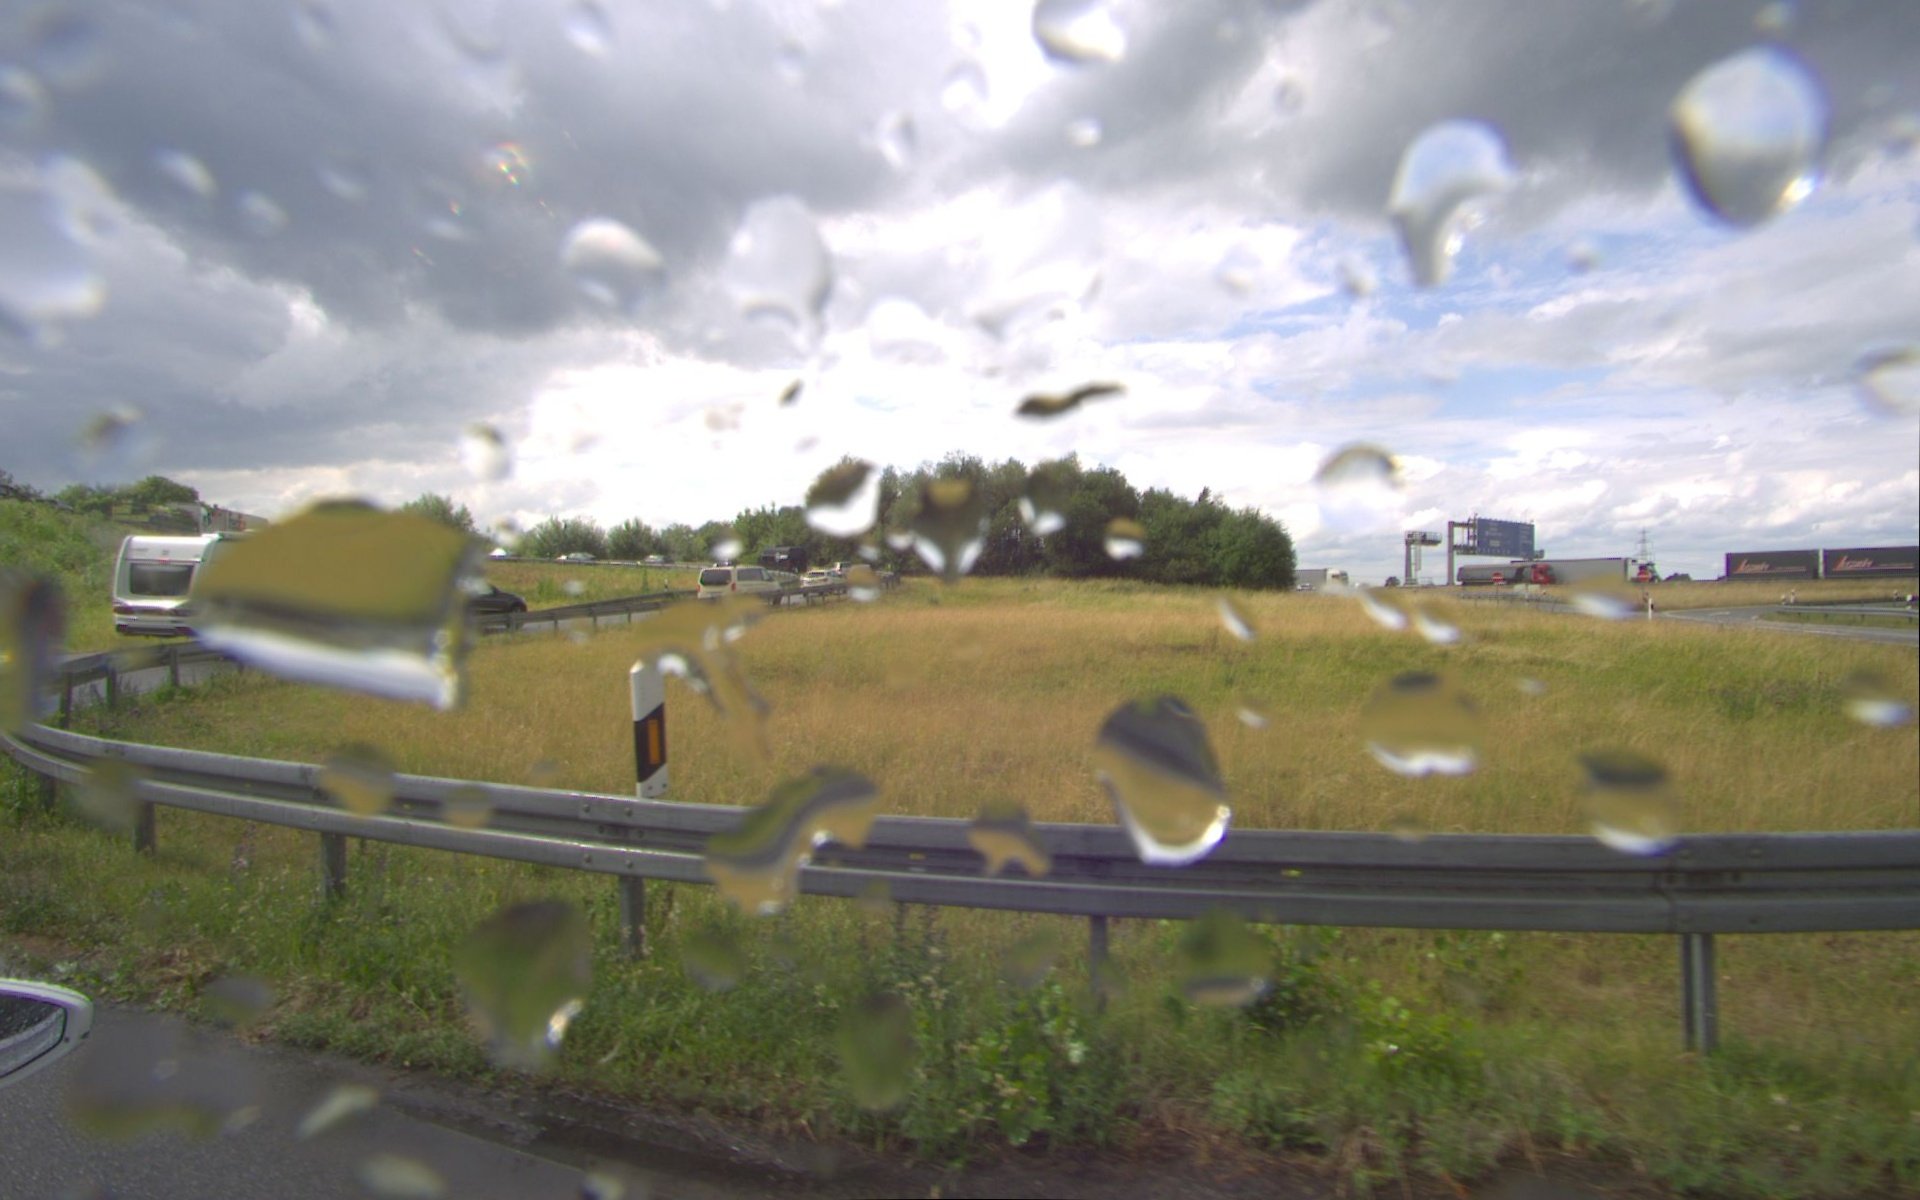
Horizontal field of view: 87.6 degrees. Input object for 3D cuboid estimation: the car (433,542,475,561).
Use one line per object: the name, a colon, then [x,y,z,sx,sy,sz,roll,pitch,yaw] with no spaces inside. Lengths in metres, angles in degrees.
car: [-58.949,-5.661,116.689,3.922,2.040,2.000,0,0,3]

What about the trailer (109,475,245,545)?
trailer: [-69.555,-7.746,89.878,4.356,4.006,20.157,1,-1,-23]

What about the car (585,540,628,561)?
car: [-38.076,-5.303,107.887,3.930,2.040,1.997,0,-1,20]

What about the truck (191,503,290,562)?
truck: [-77.054,-6.984,107.904,4.402,4.561,19.317,1,-1,-23]

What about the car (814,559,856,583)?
car: [-10.326,-2.353,82.299,1.641,1.808,5.030,-1,1,-29]

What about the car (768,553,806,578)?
car: [-15.923,-3.108,91.893,1.975,2.039,3.973,1,-1,-35]

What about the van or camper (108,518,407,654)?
van or camper: [-16.359,-0.365,23.914,2.391,2.767,5.997,2,2,8]

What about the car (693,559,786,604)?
car: [-9.894,-0.817,45.383,1.963,1.886,5.050,0,1,15]

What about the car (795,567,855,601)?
car: [-7.778,-0.900,58.199,1.962,1.886,5.053,0,1,11]

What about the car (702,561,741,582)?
car: [-23.949,-2.871,100.480,3.955,2.041,1.983,1,1,42]

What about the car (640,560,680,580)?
car: [-32.024,-3.182,106.766,3.942,2.041,1.989,2,2,33]

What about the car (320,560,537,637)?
car: [-15.350,-0.095,29.425,2.391,1.952,5.752,2,1,14]

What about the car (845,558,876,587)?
car: [-6.736,-1.860,68.227,1.961,1.886,5.055,0,1,-5]
